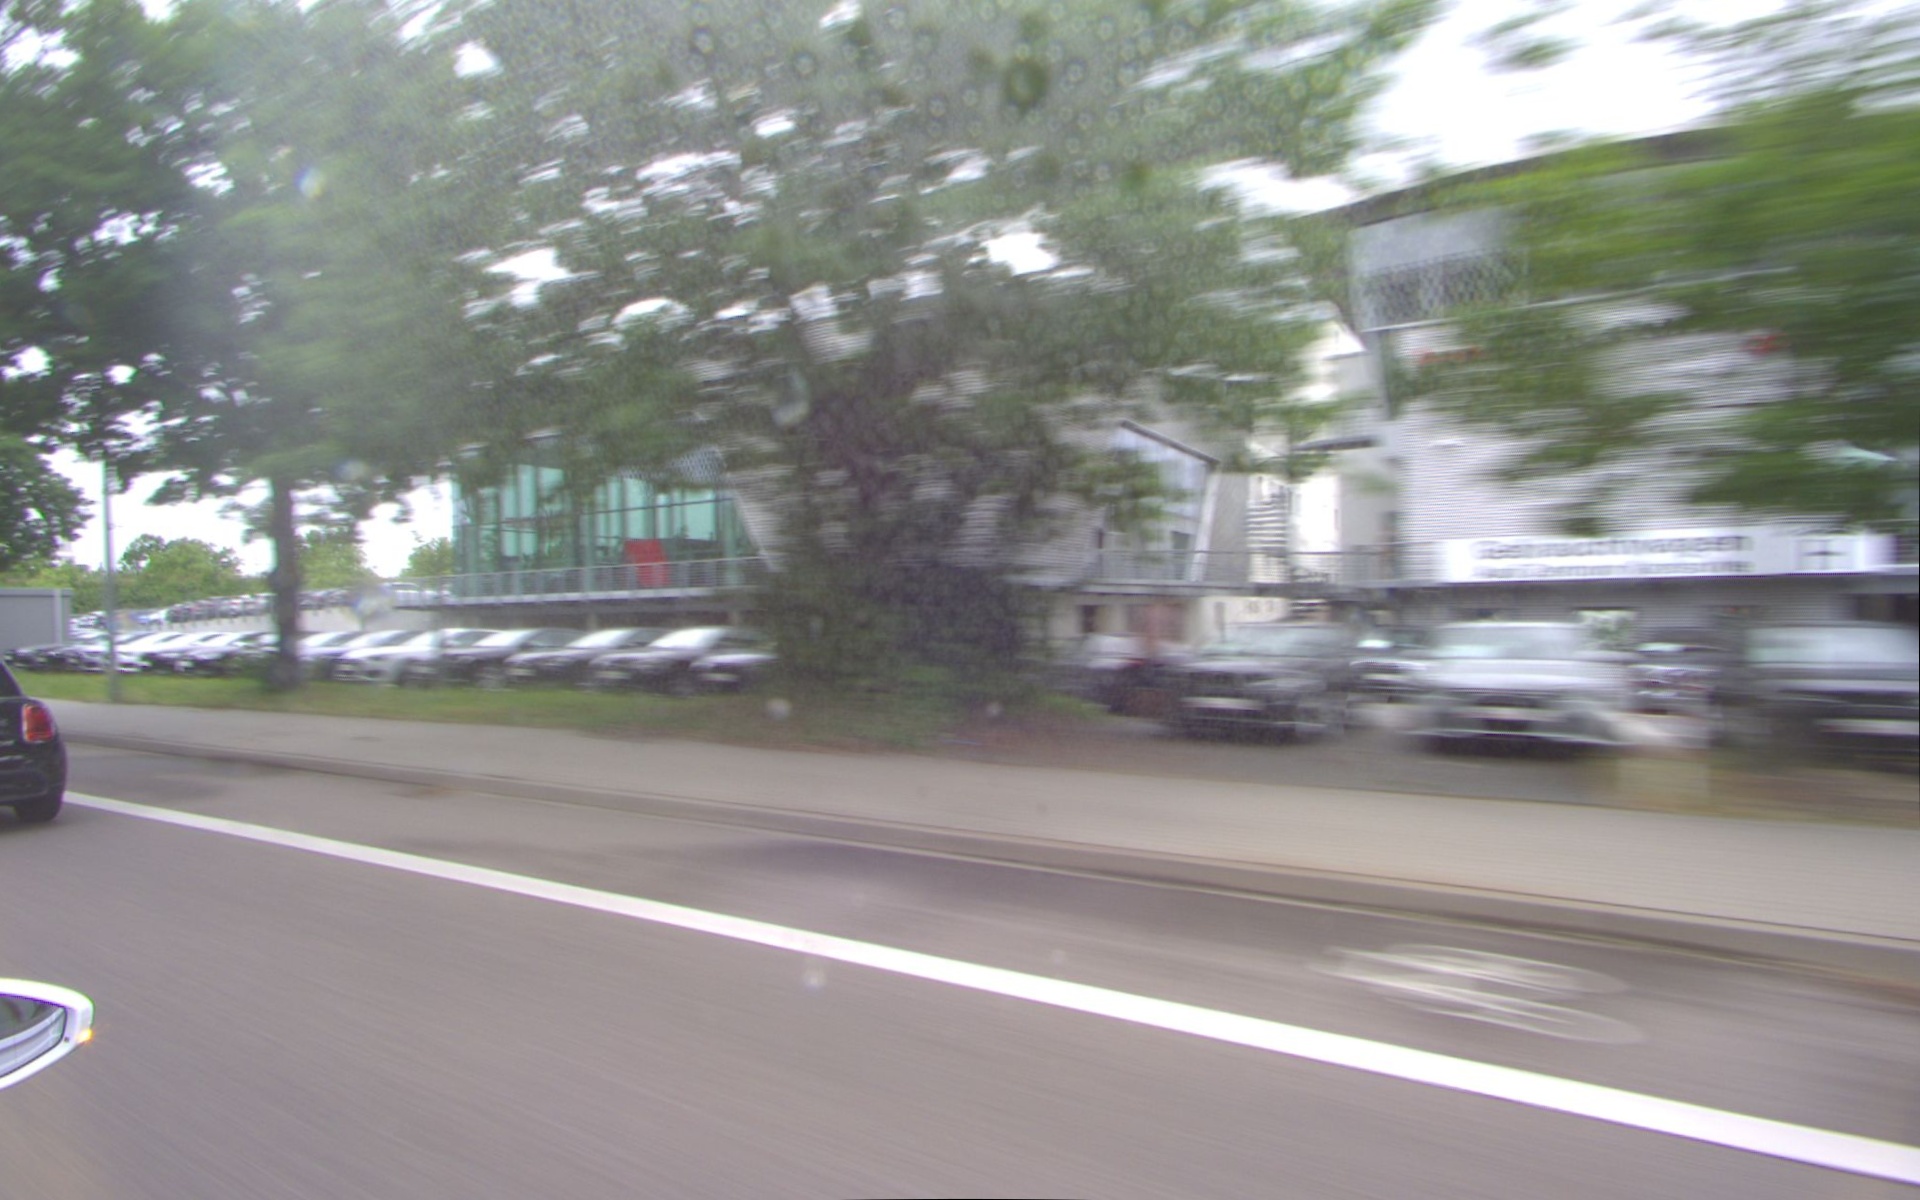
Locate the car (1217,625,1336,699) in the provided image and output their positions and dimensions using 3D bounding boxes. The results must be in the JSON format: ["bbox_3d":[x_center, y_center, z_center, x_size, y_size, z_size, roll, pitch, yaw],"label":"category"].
[{"bbox_3d":[7.440,1.354,23.283,1.714,1.505,4.333,1,0,30],"label":"car"}]

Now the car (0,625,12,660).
[{"bbox_3d":[-43.787,1.751,42.814,1.901,1.522,4.341,-1,-4,30],"label":"car"}]

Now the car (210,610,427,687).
[{"bbox_3d":[-16.277,1.293,25.623,1.971,1.682,4.173,1,-4,32],"label":"car"}]

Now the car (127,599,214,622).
[{"bbox_3d":[-52.277,0.733,66.389,1.704,1.454,4.195,1,0,29],"label":"car"}]

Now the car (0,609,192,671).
[{"bbox_3d":[-29.192,1.400,33.939,1.971,1.722,4.549,1,-5,32],"label":"car"}]

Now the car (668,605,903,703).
[{"bbox_3d":[-2.954,1.024,17.867,1.843,1.410,4.125,1,-6,30],"label":"car"}]

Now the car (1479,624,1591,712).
[{"bbox_3d":[11.821,1.304,20.626,1.789,1.564,4.097,1,0,30],"label":"car"}]

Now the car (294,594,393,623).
[{"bbox_3d":[-34.471,0.495,56.070,1.940,1.516,4.331,1,0,29],"label":"car"}]

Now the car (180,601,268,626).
[{"bbox_3d":[-45.671,0.833,62.251,1.704,1.454,4.081,1,0,29],"label":"car"}]

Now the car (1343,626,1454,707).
[{"bbox_3d":[9.821,1.383,22.270,1.789,1.564,4.097,1,0,30],"label":"car"}]

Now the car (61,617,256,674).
[{"bbox_3d":[-24.980,1.455,31.359,2.000,1.522,4.292,0,-6,32],"label":"car"}]

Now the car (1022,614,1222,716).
[{"bbox_3d":[2.695,1.056,17.718,1.738,1.518,4.267,2,0,-17],"label":"car"}]

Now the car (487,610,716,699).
[{"bbox_3d":[-7.231,1.182,20.655,1.798,1.503,4.209,1,-6,30],"label":"car"}]

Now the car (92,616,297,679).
[{"bbox_3d":[-22.818,1.456,30.029,1.971,1.538,4.392,1,-5,32],"label":"car"}]

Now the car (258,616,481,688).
[{"bbox_3d":[-14.212,1.310,24.336,1.948,1.504,4.180,1,-4,31],"label":"car"}]

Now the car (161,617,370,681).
[{"bbox_3d":[-18.639,1.359,27.085,1.905,1.473,4.173,1,-4,32],"label":"car"}]

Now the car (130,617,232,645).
[{"bbox_3d":[-42.793,1.667,55.086,1.704,1.454,4.081,1,0,29],"label":"car"}]

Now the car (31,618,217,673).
[{"bbox_3d":[-27.045,1.507,32.533,1.931,1.463,4.174,1,-5,32],"label":"car"}]

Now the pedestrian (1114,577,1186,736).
[{"bbox_3d":[2.362,0.692,12.423,0.709,1.895,0.670,-1,-2,30],"label":"pedestrian"}]

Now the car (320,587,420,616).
[{"bbox_3d":[-32.324,0.094,54.980,2.038,1.516,4.331,1,0,29],"label":"car"}]

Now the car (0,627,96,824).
[{"bbox_3d":[-8.778,0.992,7.908,3.588,1.434,1.784,-2,-1,28],"label":"car"}]

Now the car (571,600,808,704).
[{"bbox_3d":[-5.019,1.064,19.205,1.847,1.621,4.239,1,-6,30],"label":"car"}]

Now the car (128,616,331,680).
[{"bbox_3d":[-20.705,1.404,28.552,1.971,1.486,4.174,1,-5,32],"label":"car"}]

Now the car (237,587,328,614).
[{"bbox_3d":[-39.379,0.047,58.283,1.704,1.516,4.081,1,0,29],"label":"car"}]

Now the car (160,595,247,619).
[{"bbox_3d":[-47.990,0.443,63.615,1.704,1.454,4.081,1,0,29],"label":"car"}]

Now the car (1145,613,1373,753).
[{"bbox_3d":[3.933,0.959,12.649,1.828,1.438,4.200,0,-3,30],"label":"car"}]

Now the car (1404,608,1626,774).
[{"bbox_3d":[6.335,0.928,11.437,1.820,1.490,4.645,0,-3,30],"label":"car"}]

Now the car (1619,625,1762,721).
[{"bbox_3d":[13.913,1.340,19.278,1.789,1.600,3.953,1,-2,30],"label":"car"}]

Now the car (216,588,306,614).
[{"bbox_3d":[-41.594,0.054,59.648,1.704,1.454,4.081,1,0,29],"label":"car"}]

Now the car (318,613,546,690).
[{"bbox_3d":[-12.021,1.237,23.090,1.929,1.504,4.196,1,-4,30],"label":"car"}]

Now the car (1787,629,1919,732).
[{"bbox_3d":[16.220,1.383,17.722,1.789,1.600,3.953,1,-2,30],"label":"car"}]

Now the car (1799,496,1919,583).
[{"bbox_3d":[20.598,-1.286,22.599,1.797,1.684,3.983,1,0,29],"label":"car"}]

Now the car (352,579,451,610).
[{"bbox_3d":[-29.853,-0.280,53.660,1.853,1.516,4.331,1,0,29],"label":"car"}]

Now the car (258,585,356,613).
[{"bbox_3d":[-37.112,-0.041,57.016,1.853,1.516,4.331,1,0,29],"label":"car"}]

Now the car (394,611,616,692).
[{"bbox_3d":[-9.779,1.172,21.838,1.791,1.503,4.064,1,-5,30],"label":"car"}]

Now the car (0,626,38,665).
[{"bbox_3d":[-41.450,1.935,41.464,1.970,1.592,4.438,-1,0,30],"label":"car"}]

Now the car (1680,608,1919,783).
[{"bbox_3d":[8.583,0.884,9.994,1.874,1.408,4.151,-1,-3,30],"label":"car"}]

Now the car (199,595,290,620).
[{"bbox_3d":[-43.444,0.494,60.883,1.917,1.454,4.081,1,0,29],"label":"car"}]
